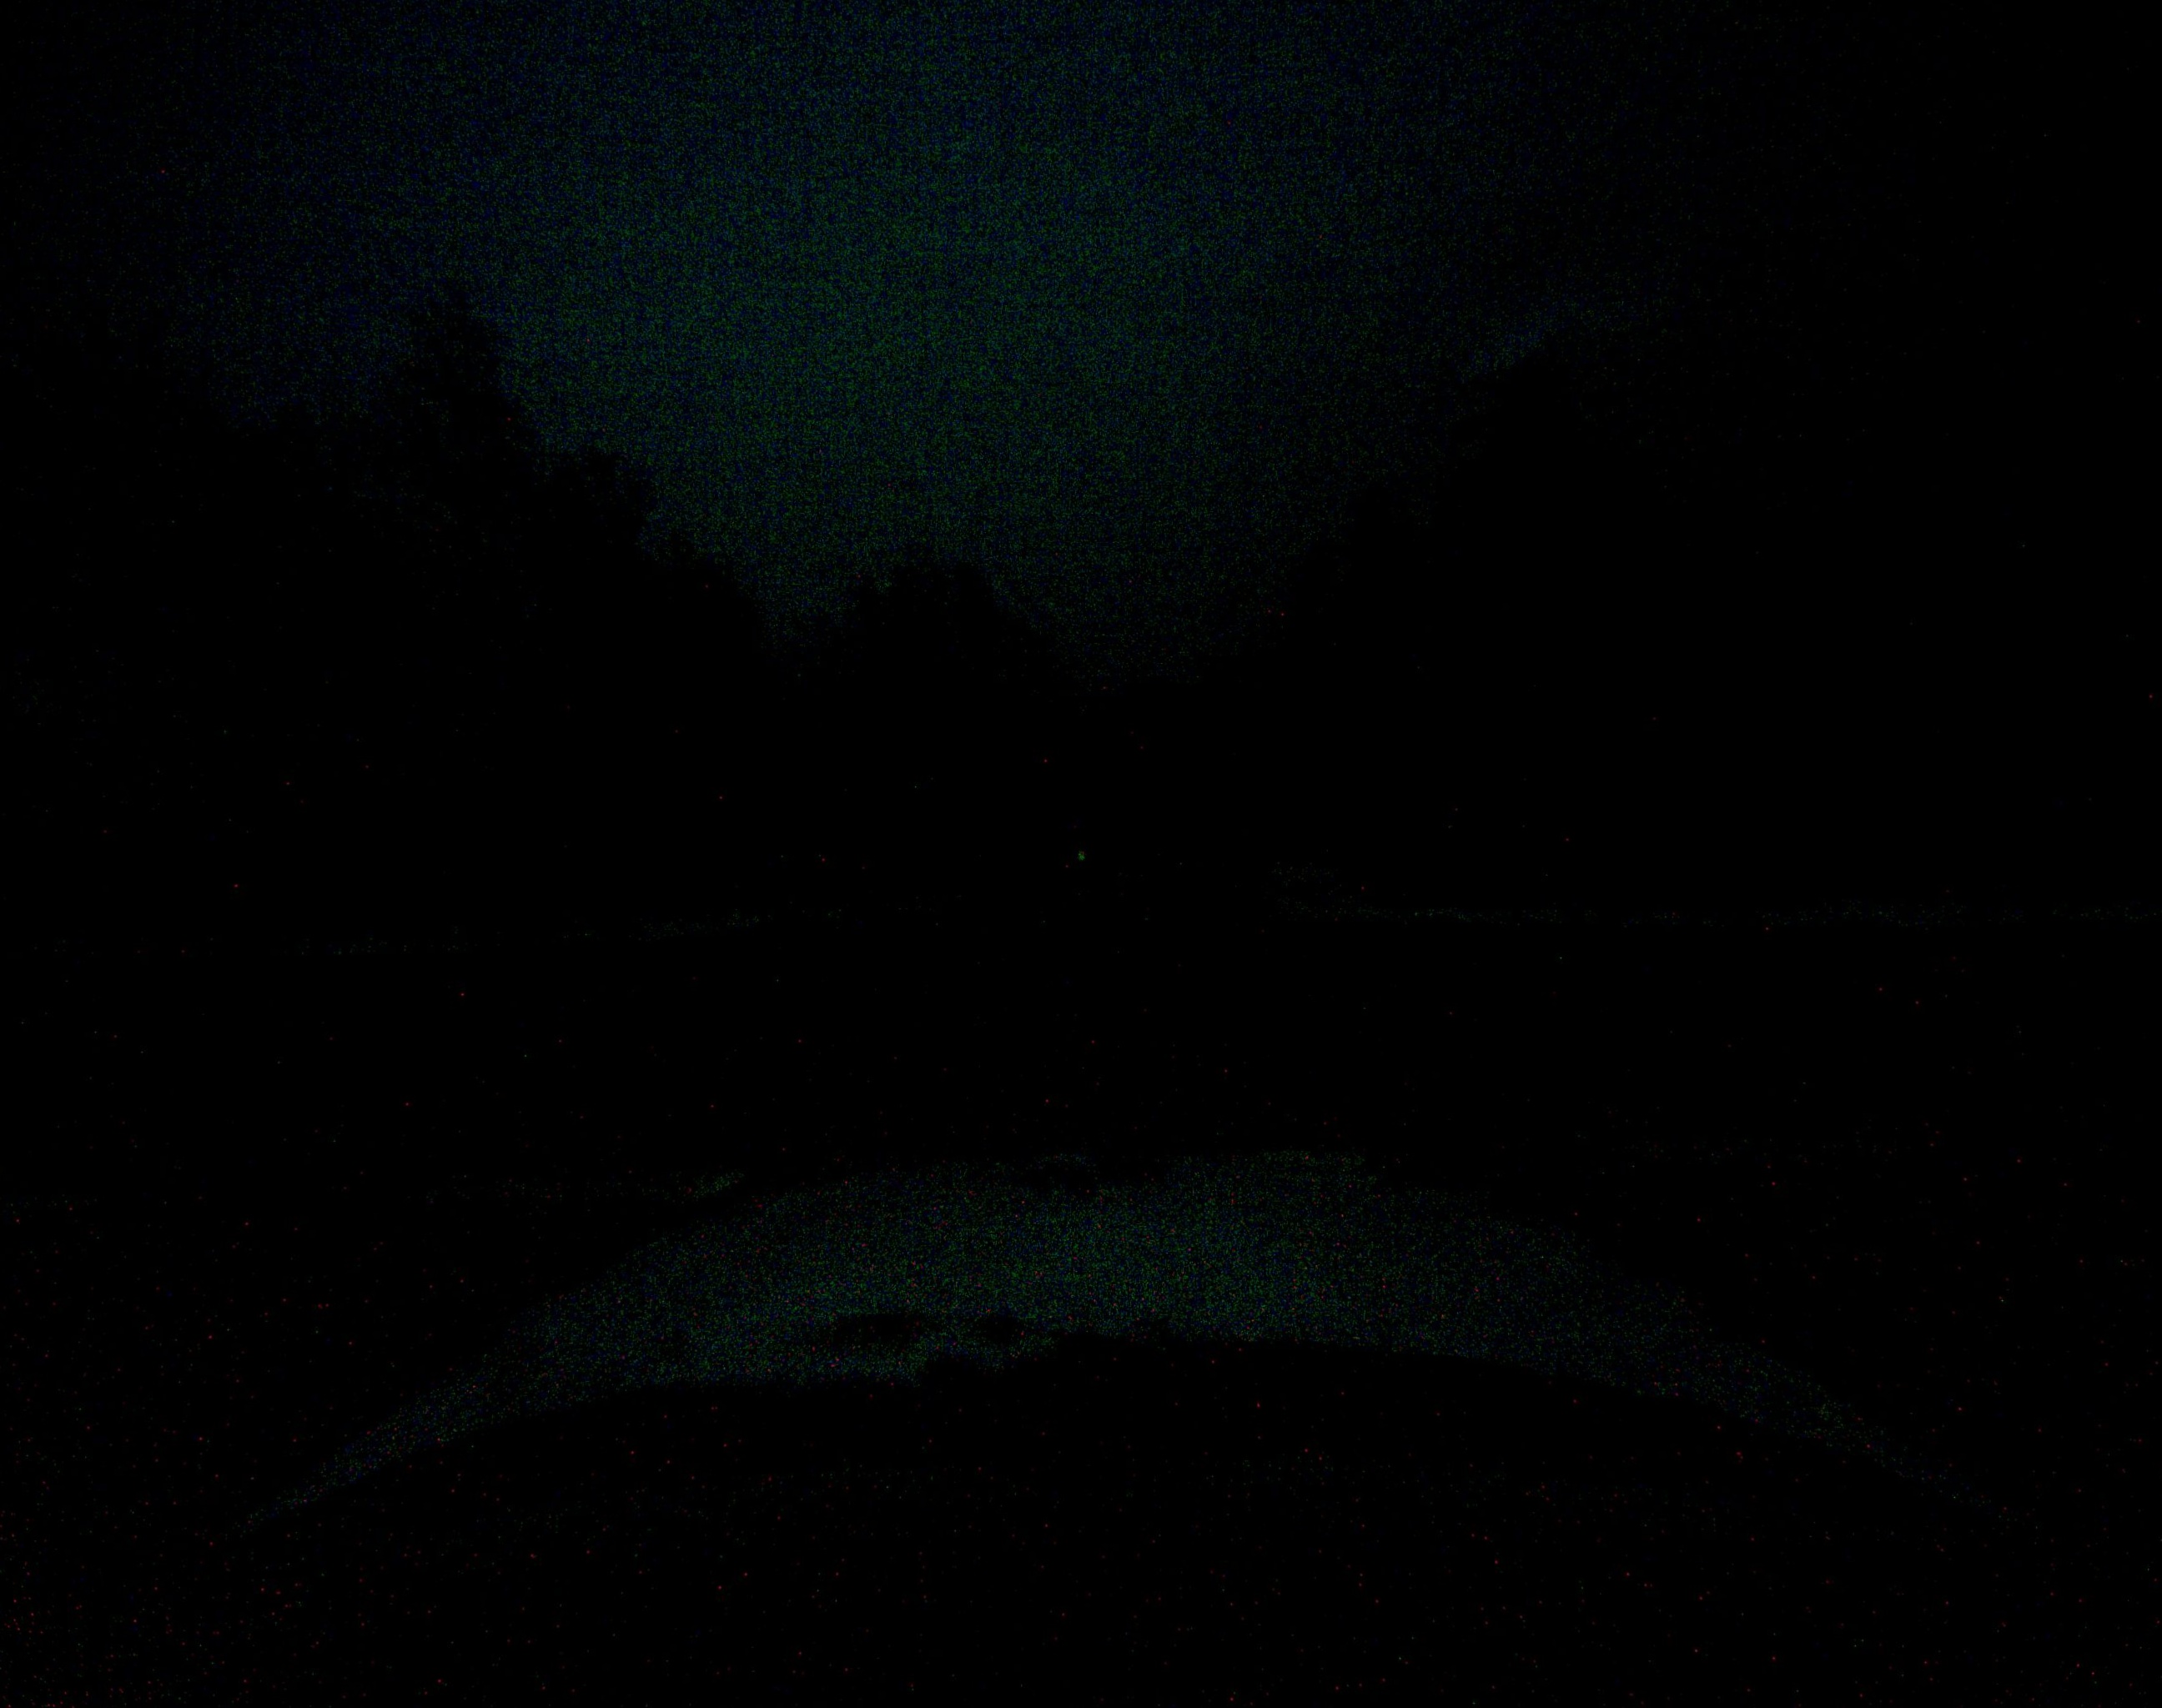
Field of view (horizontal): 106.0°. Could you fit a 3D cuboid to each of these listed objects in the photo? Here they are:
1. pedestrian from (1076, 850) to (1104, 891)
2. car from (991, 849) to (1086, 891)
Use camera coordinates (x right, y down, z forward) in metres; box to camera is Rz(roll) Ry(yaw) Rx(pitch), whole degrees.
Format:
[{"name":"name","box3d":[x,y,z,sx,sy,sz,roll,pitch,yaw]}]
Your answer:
[{"name":"pedestrian","box3d":[0.406,0.761,36.737,0.952,1.828,0.930,-1,-2,23]},{"name":"car","box3d":[-1.954,0.751,37.871,3.915,1.881,2.009,0,-2,18]}]
